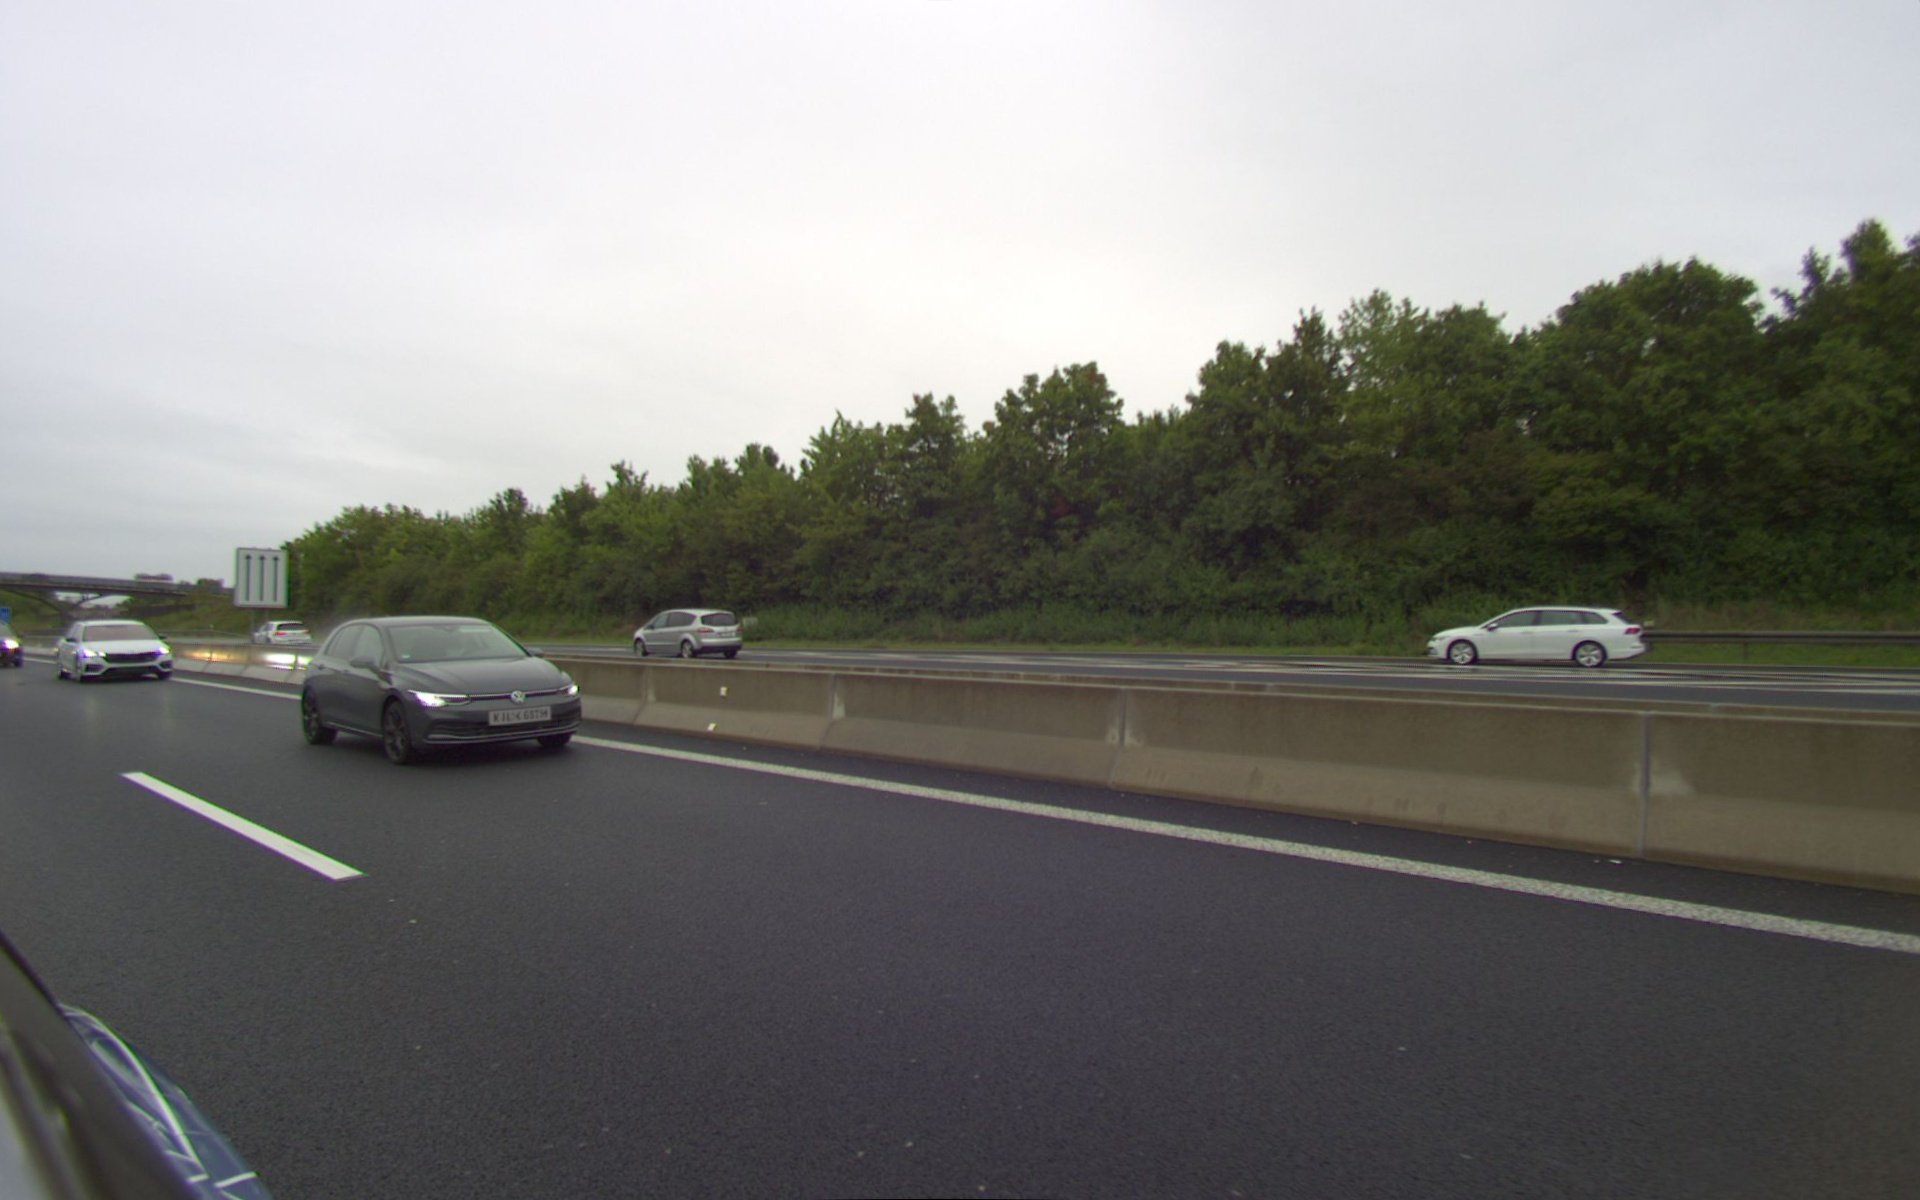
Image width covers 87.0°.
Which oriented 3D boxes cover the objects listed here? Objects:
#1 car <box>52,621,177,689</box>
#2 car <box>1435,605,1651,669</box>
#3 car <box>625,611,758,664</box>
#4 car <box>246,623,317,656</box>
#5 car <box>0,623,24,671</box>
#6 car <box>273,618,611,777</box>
[{"bbox_3d":[-20.916,1.300,24.986,4.114,1.518,1.880,-2,-1,43],"label":"car"},{"bbox_3d":[14.169,0.866,24.761,4.374,1.441,2.163,-1,-1,32],"label":"car"},{"bbox_3d":[-8.949,1.211,33.528,4.537,1.647,2.156,-2,-1,43],"label":"car"},{"bbox_3d":[-33.618,1.933,50.105,4.138,1.518,1.962,-2,-1,41],"label":"car"},{"bbox_3d":[-31.946,1.522,32.956,4.114,1.518,1.880,-2,-1,43],"label":"car"},{"bbox_3d":[-5.931,0.937,11.331,4.457,1.416,1.880,-2,-1,41],"label":"car"}]
